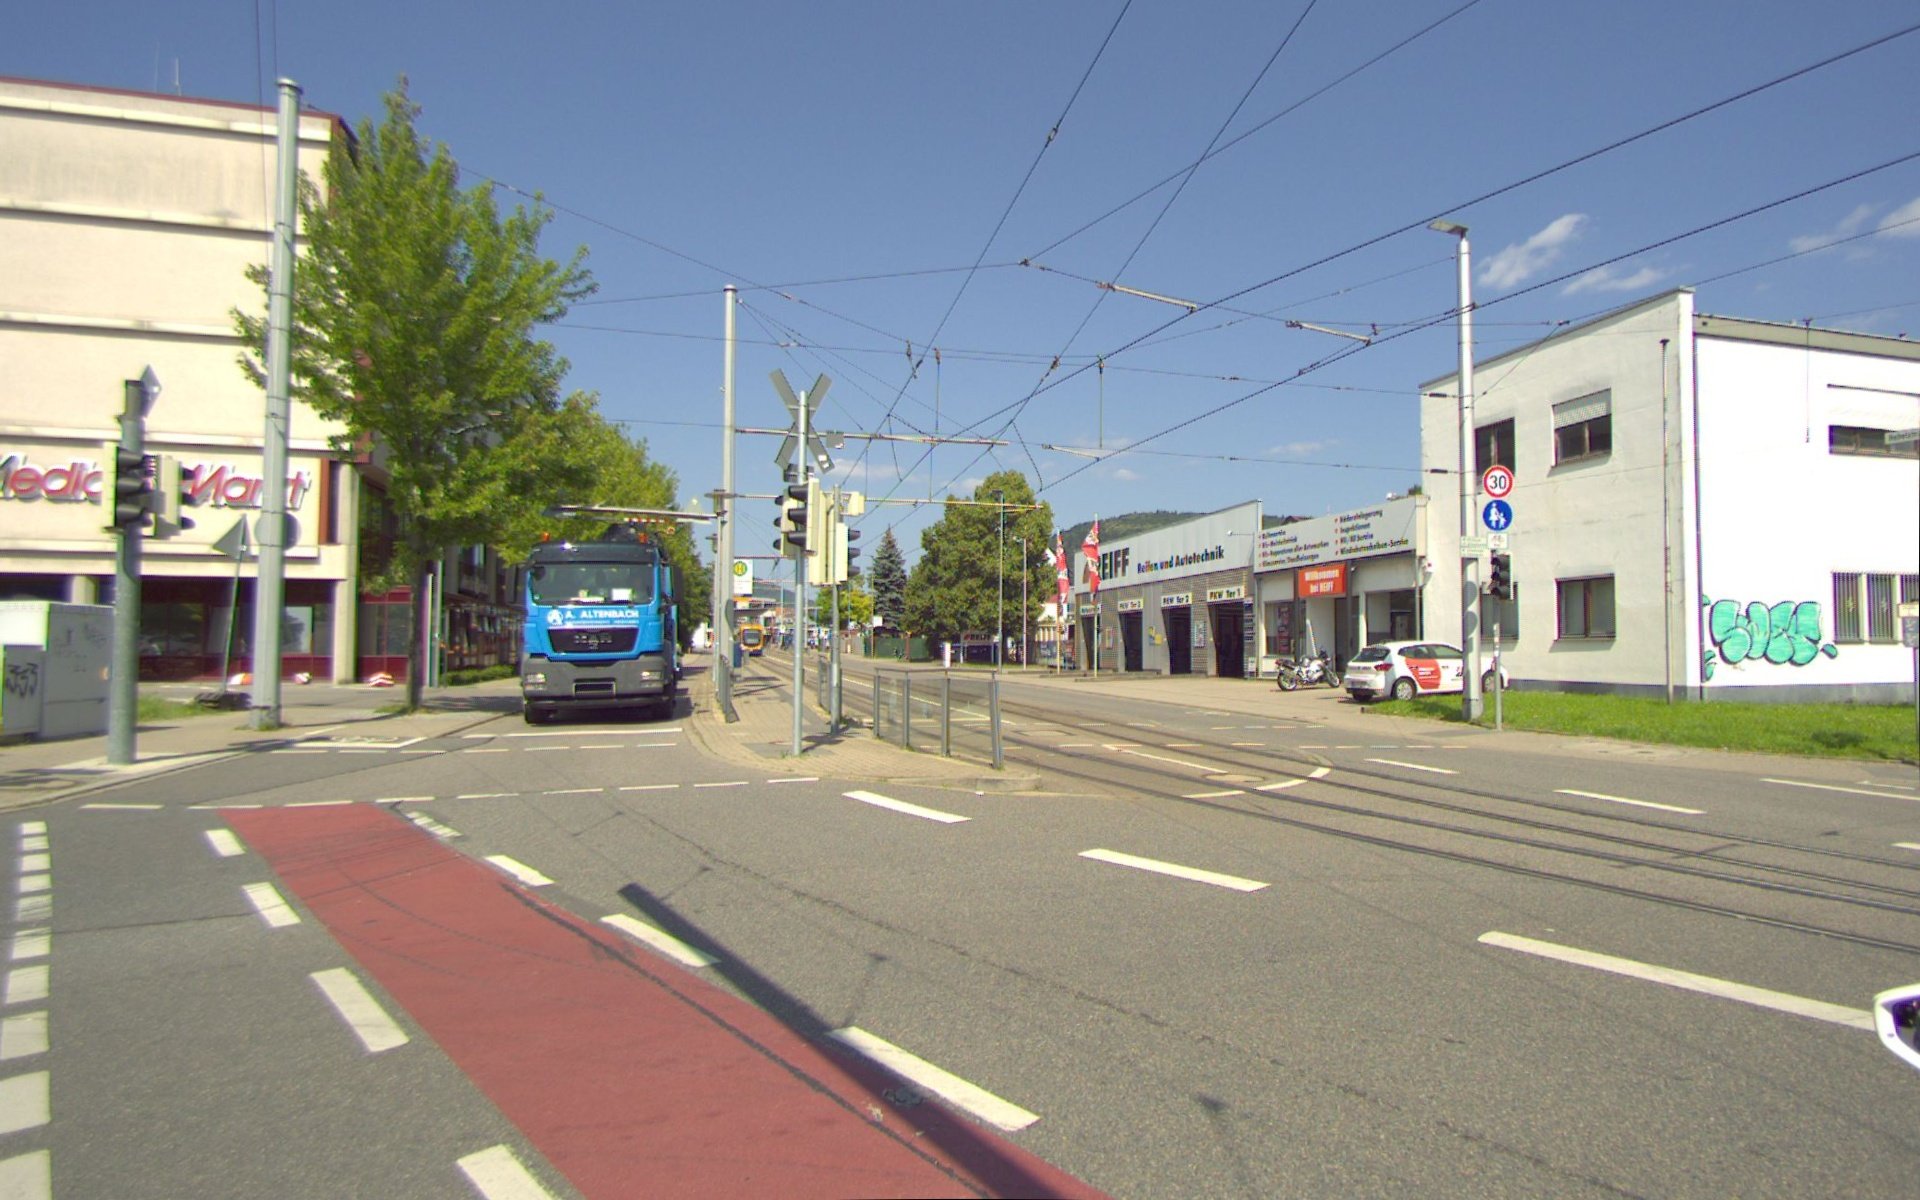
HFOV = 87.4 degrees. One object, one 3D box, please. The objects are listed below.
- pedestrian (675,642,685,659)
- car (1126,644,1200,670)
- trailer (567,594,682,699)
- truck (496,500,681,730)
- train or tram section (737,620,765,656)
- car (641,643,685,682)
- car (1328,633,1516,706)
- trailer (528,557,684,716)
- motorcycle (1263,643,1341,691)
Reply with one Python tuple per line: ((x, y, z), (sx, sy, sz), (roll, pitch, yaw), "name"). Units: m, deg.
((-26.812, 4.833, 96.183), (0.823, 1.557, 0.836), (0, -2, -14), "pedestrian")
((11.329, 3.182, 56.153), (3.715, 1.394, 1.718), (1, -2, -19), "car")
((-9.677, 1.349, 29.666), (2.759, 2.662, 7.578), (1, -2, -15), "trailer")
((-6.672, 0.338, 18.739), (2.706, 3.656, 5.026), (1, -2, -15), "truck")
((-21.369, 3.888, 102.546), (2.575, 3.579, 5.727), (0, -2, -14), "train or tram section")
((-13.162, 2.739, 44.734), (1.699, 1.605, 4.060), (-2, -2, -15), "car")
((11.473, 1.696, 25.012), (3.934, 1.482, 1.884), (-3, -2, -16), "car")
((-7.710, 0.834, 22.691), (2.706, 3.016, 6.879), (1, -2, -15), "trailer")
((10.417, 2.030, 30.630), (2.154, 1.325, 0.729), (-2, -2, -16), "motorcycle")
